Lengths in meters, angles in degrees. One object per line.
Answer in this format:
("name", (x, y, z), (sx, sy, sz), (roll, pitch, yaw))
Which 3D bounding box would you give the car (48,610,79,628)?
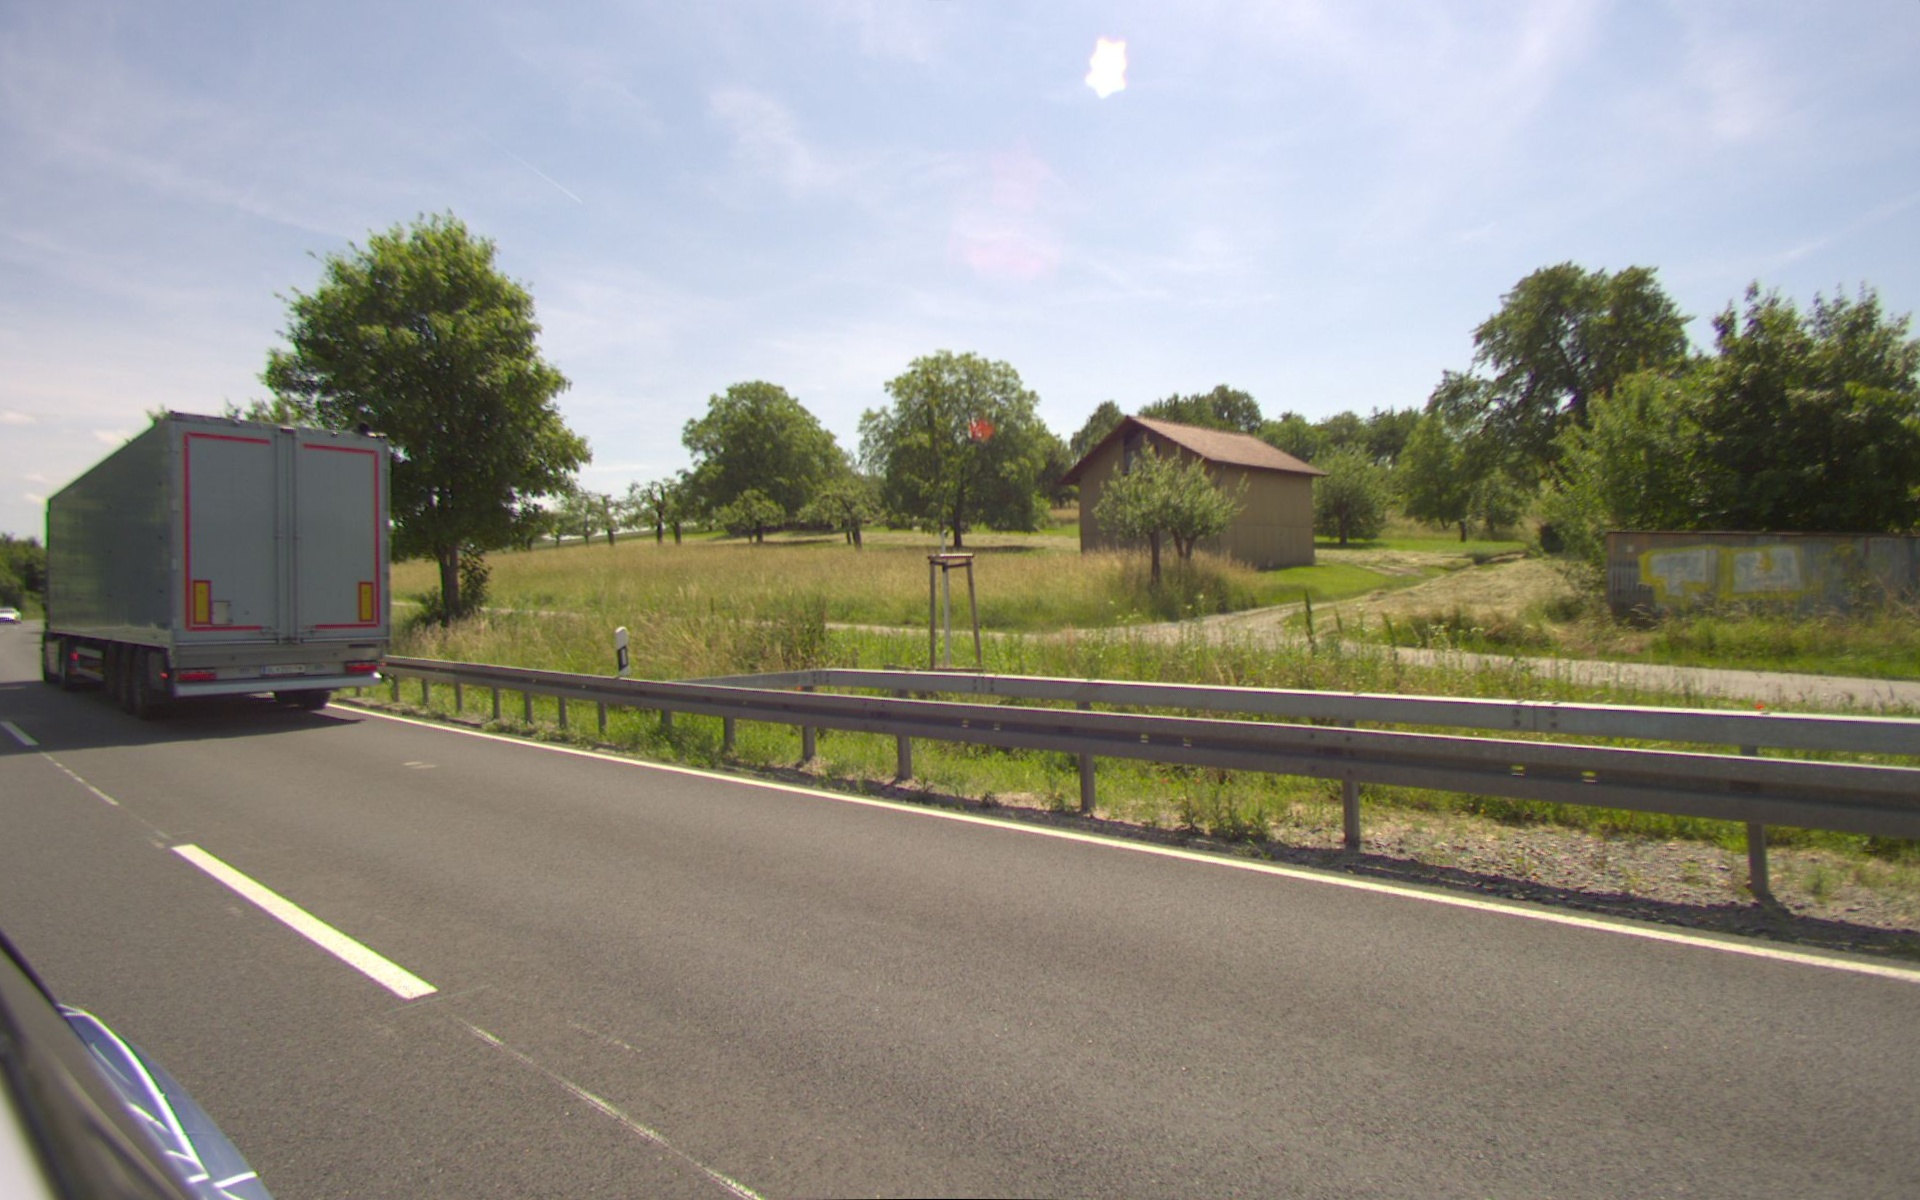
("car", (-106.770, 2.264, 120.585), (1.966, 2.029, 4.012), (-1, 0, -30))

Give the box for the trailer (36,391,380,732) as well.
("trailer", (-14.149, -0.344, 18.161), (14.014, 4.216, 2.419), (-1, -2, 43))

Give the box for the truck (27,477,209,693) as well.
("truck", (-18.918, -0.236, 22.634), (5.649, 4.227, 2.419), (-2, -2, 43))

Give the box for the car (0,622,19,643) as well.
("car", (-90.956, 3.077, 95.970), (1.967, 2.029, 4.010), (0, -1, -34))
